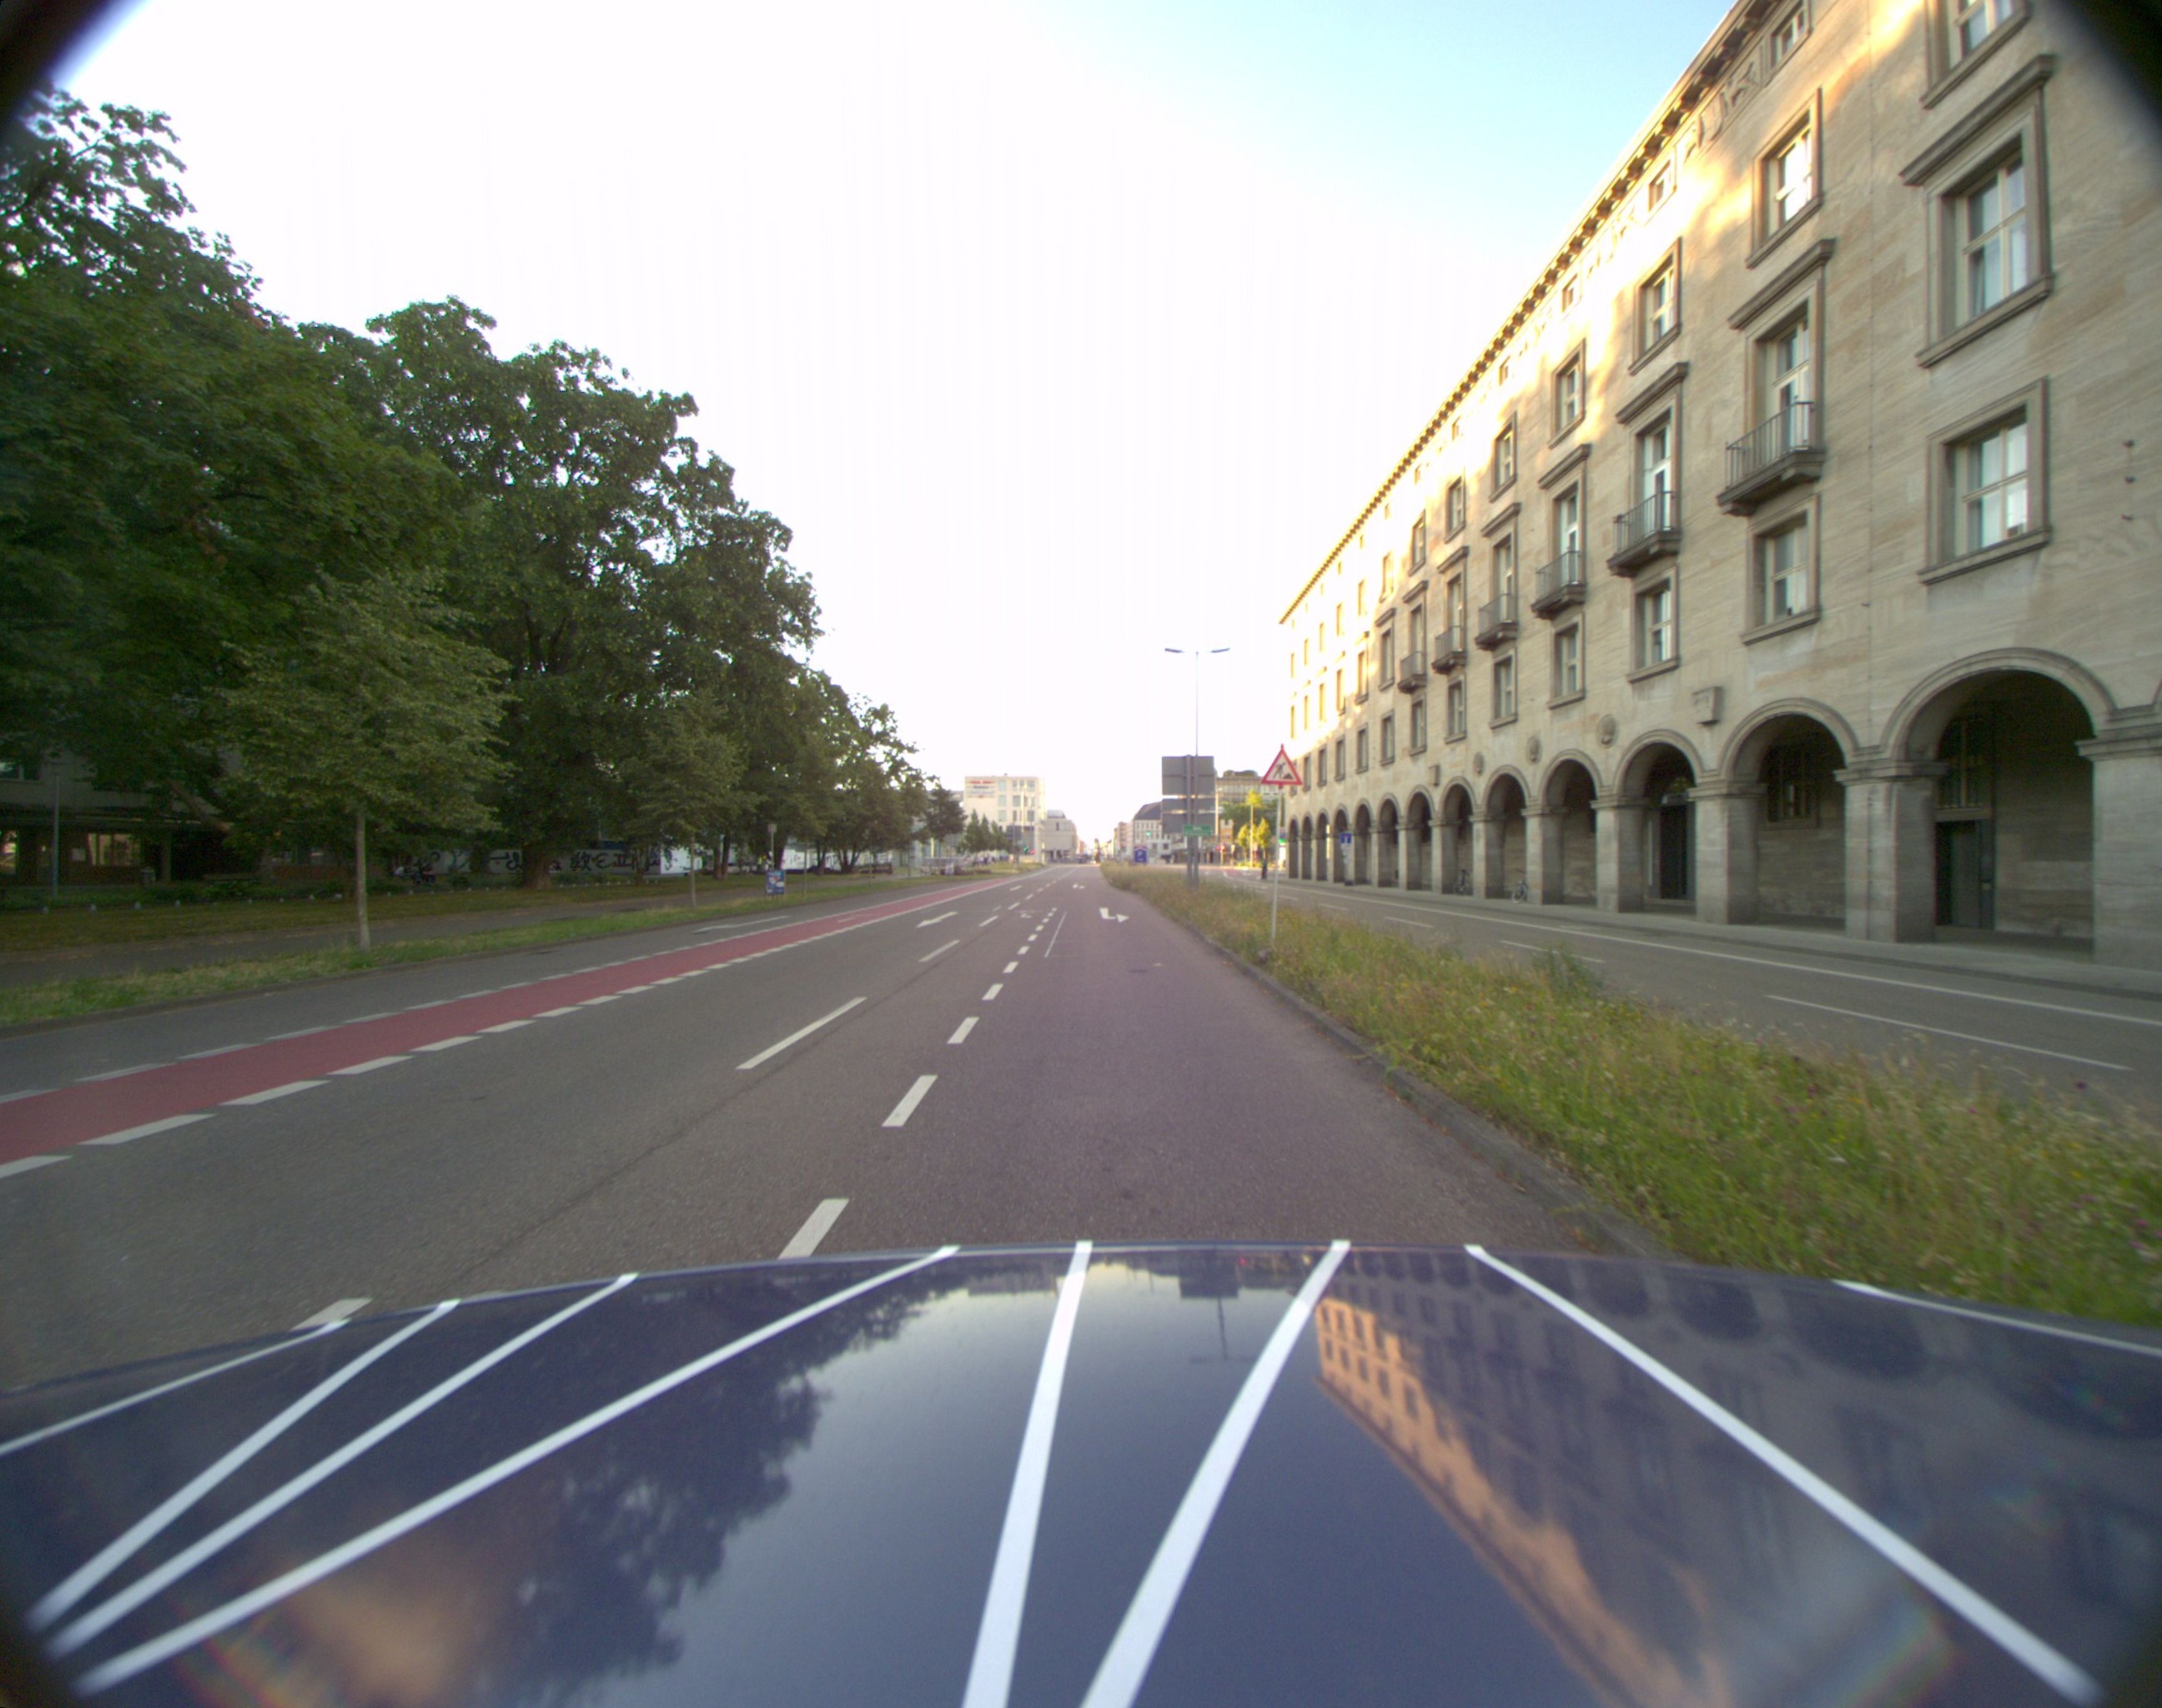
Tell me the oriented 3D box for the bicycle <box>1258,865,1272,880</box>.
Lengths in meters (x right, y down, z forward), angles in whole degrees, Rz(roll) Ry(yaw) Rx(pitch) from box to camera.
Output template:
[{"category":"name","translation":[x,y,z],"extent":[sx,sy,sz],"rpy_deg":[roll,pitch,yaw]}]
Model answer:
[{"category":"bicycle","translation":[13.048,1.305,53.929],"extent":[0.543,0.999,2.005],"rpy_deg":[0,0,1]}]

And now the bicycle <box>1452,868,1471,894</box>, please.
[{"category":"bicycle","translation":[15.679,1.104,31.315],"extent":[0.477,0.999,2.008],"rpy_deg":[0,0,20]}]

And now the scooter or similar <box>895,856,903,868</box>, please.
[{"category":"scooter or similar","translation":[-19.882,0.857,83.166],"extent":[0.424,1.213,1.399],"rpy_deg":[2,0,2]}]

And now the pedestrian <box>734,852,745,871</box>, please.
[{"category":"pedestrian","translation":[-33.257,0.738,73.944],"extent":[0.768,1.845,0.601],"rpy_deg":[0,1,16]}]

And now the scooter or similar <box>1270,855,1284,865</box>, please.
[{"category":"scooter or similar","translation":[26.581,0.803,103.059],"extent":[1.841,1.297,0.423],"rpy_deg":[0,1,-5]}]

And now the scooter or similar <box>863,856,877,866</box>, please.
[{"category":"scooter or similar","translation":[-26.700,0.912,96.060],"extent":[1.573,1.213,0.474],"rpy_deg":[-2,1,-1]}]

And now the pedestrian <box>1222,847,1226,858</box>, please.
[{"category":"pedestrian","translation":[24.086,-0.271,127.956],"extent":[0.661,1.922,0.648],"rpy_deg":[0,0,2]}]

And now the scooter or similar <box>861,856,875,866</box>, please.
[{"category":"scooter or similar","translation":[-26.644,0.926,95.243],"extent":[1.573,1.213,0.474],"rpy_deg":[-2,1,-1]}]

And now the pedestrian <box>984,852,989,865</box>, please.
[{"category":"pedestrian","translation":[-14.296,0.623,114.399],"extent":[0.644,1.922,0.619],"rpy_deg":[0,1,3]}]

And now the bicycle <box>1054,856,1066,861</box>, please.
[{"category":"bicycle","translation":[-5.175,1.220,188.107],"extent":[2.804,1.209,0.765],"rpy_deg":[0,0,10]}]

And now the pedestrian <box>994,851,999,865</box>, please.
[{"category":"pedestrian","translation":[-12.012,0.572,108.135],"extent":[0.644,1.922,0.619],"rpy_deg":[0,1,1]}]

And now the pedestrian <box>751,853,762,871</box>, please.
[{"category":"pedestrian","translation":[-32.015,0.765,74.880],"extent":[0.768,1.810,0.601],"rpy_deg":[0,1,16]}]

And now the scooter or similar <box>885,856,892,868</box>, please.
[{"category":"scooter or similar","translation":[-21.054,0.869,83.105],"extent":[0.474,1.213,1.573],"rpy_deg":[2,0,-5]}]

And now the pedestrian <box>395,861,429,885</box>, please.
[{"category":"pedestrian","translation":[-34.988,0.979,39.728],"extent":[1.134,1.253,0.726],"rpy_deg":[0,1,3]}]

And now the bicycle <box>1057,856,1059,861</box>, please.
[{"category":"bicycle","translation":[-5.602,1.164,185.932],"extent":[0.619,1.316,2.509],"rpy_deg":[0,0,-1]}]

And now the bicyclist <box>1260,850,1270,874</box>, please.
[{"category":"bicyclist","translation":[13.050,0.537,53.866],"extent":[0.538,1.683,0.748],"rpy_deg":[0,1,0]}]

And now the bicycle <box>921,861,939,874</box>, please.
[{"category":"bicycle","translation":[-12.611,1.115,63.482],"extent":[0.494,1.000,1.901],"rpy_deg":[3,1,21]}]

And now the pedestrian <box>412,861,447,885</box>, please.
[{"category":"pedestrian","translation":[-34.871,0.988,40.676],"extent":[1.134,1.253,0.905],"rpy_deg":[0,0,3]}]

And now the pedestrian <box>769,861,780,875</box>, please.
[{"category":"pedestrian","translation":[-20.564,0.936,51.035],"extent":[0.682,0.879,0.592],"rpy_deg":[0,0,-24]}]

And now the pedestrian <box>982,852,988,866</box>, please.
[{"category":"pedestrian","translation":[-13.805,0.717,109.274],"extent":[0.644,1.922,0.619],"rpy_deg":[0,1,3]}]

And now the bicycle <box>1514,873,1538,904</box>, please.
[{"category":"bicycle","translation":[15.387,1.163,26.280],"extent":[0.477,0.999,2.009],"rpy_deg":[0,0,37]}]

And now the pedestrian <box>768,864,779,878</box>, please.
[{"category":"pedestrian","translation":[-20.891,1.151,51.580],"extent":[0.682,0.879,0.622],"rpy_deg":[0,0,-22]}]

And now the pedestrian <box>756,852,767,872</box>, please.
[{"category":"pedestrian","translation":[-30.950,0.757,73.545],"extent":[0.768,1.908,0.601],"rpy_deg":[0,1,16]}]
